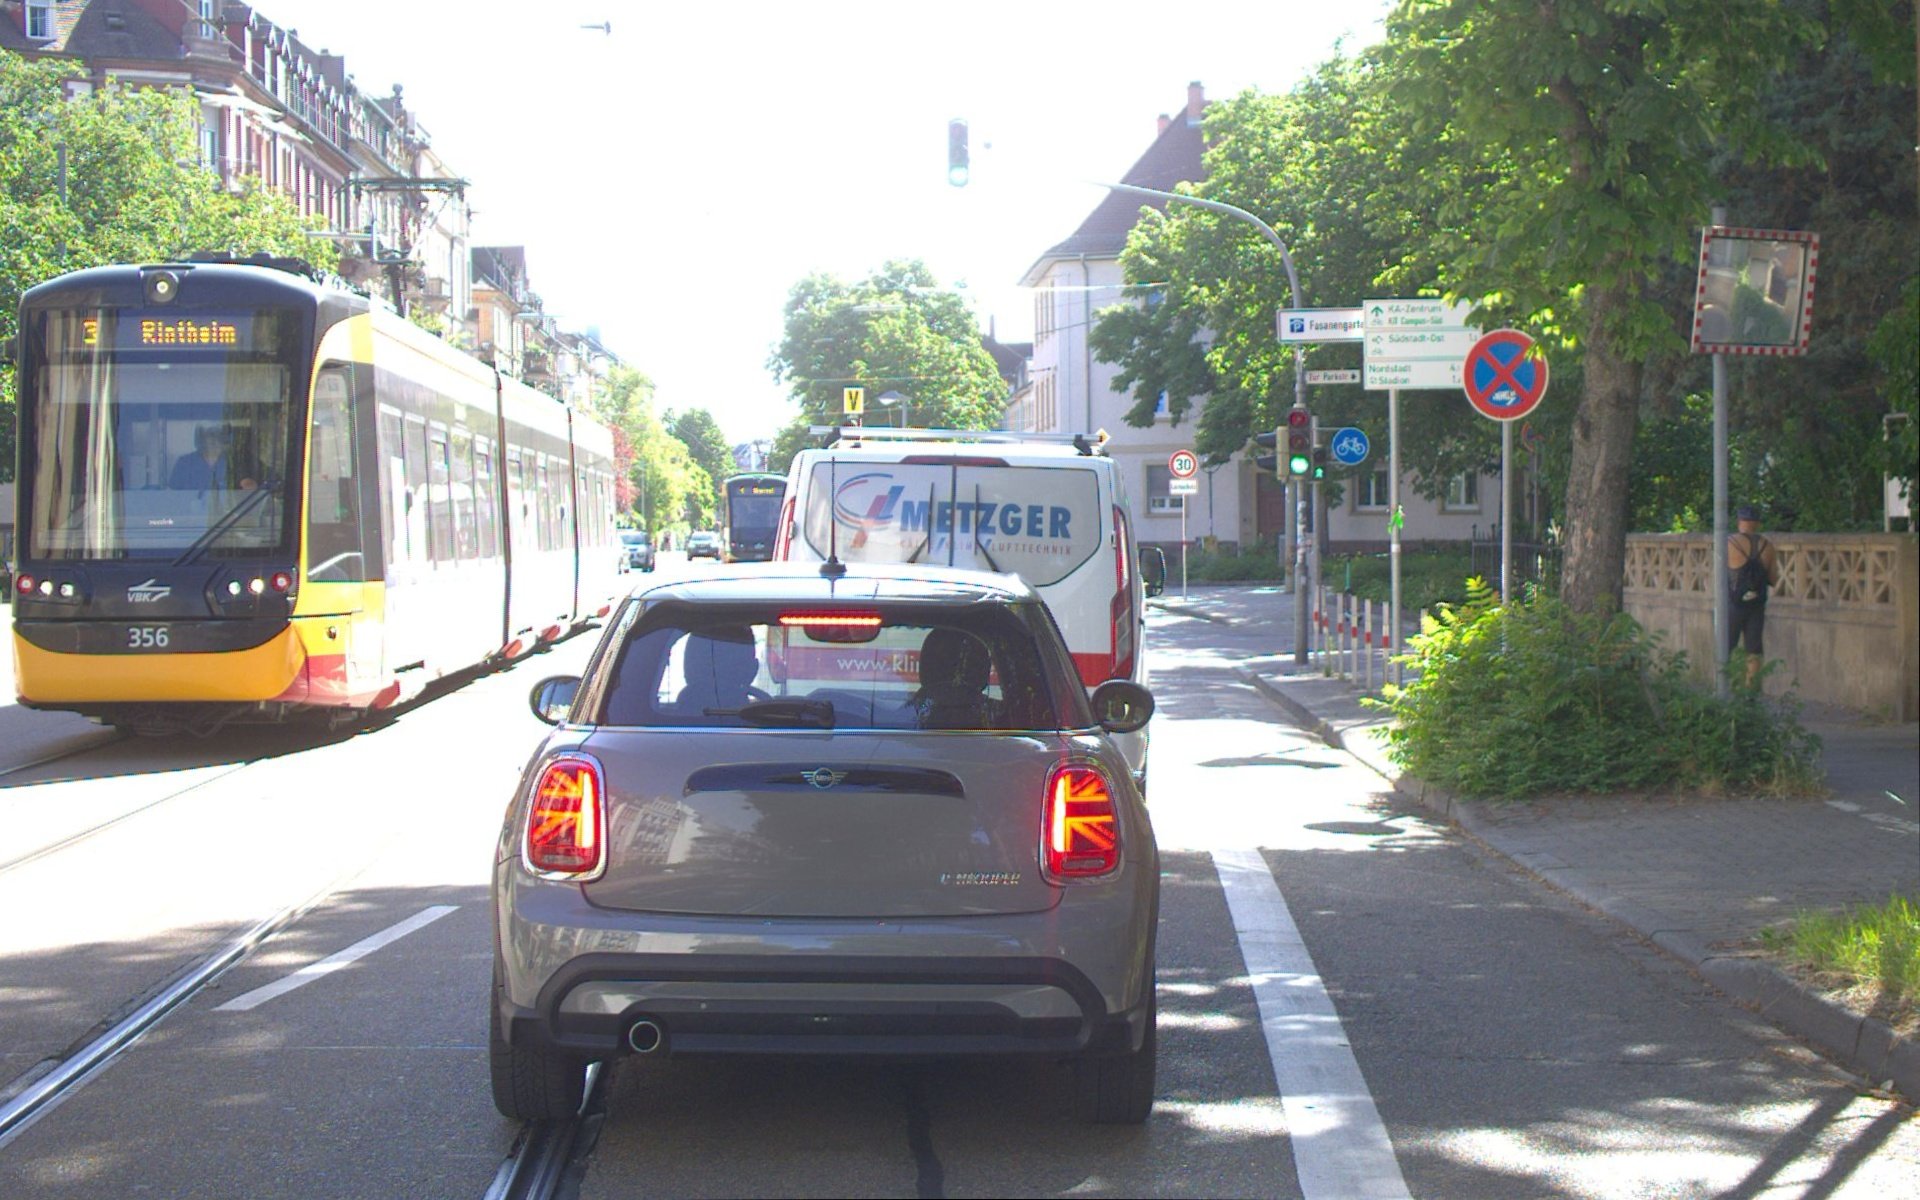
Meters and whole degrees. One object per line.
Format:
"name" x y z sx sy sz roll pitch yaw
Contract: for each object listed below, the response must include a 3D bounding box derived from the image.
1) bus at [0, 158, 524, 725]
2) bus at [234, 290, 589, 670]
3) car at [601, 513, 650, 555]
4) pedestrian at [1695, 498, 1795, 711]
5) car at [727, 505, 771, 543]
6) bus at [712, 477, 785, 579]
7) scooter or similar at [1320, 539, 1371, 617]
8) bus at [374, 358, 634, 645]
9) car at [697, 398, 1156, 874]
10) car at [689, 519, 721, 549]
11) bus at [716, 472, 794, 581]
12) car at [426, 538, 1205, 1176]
"bus" -5.547 -1.119 28.802 2.859 3.764 11.499 1 1 -3
"bus" -6.099 -1.260 40.055 2.859 3.764 11.185 1 1 -3
"car" -13.106 -2.574 134.942 1.775 1.612 4.001 1 1 -4
"pedestrian" 6.254 0.034 27.412 0.592 1.665 0.647 -2 0 -1
"car" -9.094 -3.278 148.039 1.863 1.558 4.001 1 1 -4
"bus" -7.556 -2.511 122.372 2.385 3.484 7.385 1 1 -5
"scooter or similar" 6.587 -0.377 58.822 0.676 1.305 1.329 1 0 -1
"bus" -6.618 -1.369 51.627 2.849 3.764 12.199 1 1 -3
"car" -0.186 0.145 18.590 2.118 2.200 4.945 1 1 -1
"car" -14.378 -3.720 194.011 1.775 1.612 4.001 1 1 -4
"bus" -6.889 -2.417 114.977 2.385 3.484 7.385 1 1 -5
"car" -0.363 0.587 10.108 1.815 1.483 4.000 1 1 -1
